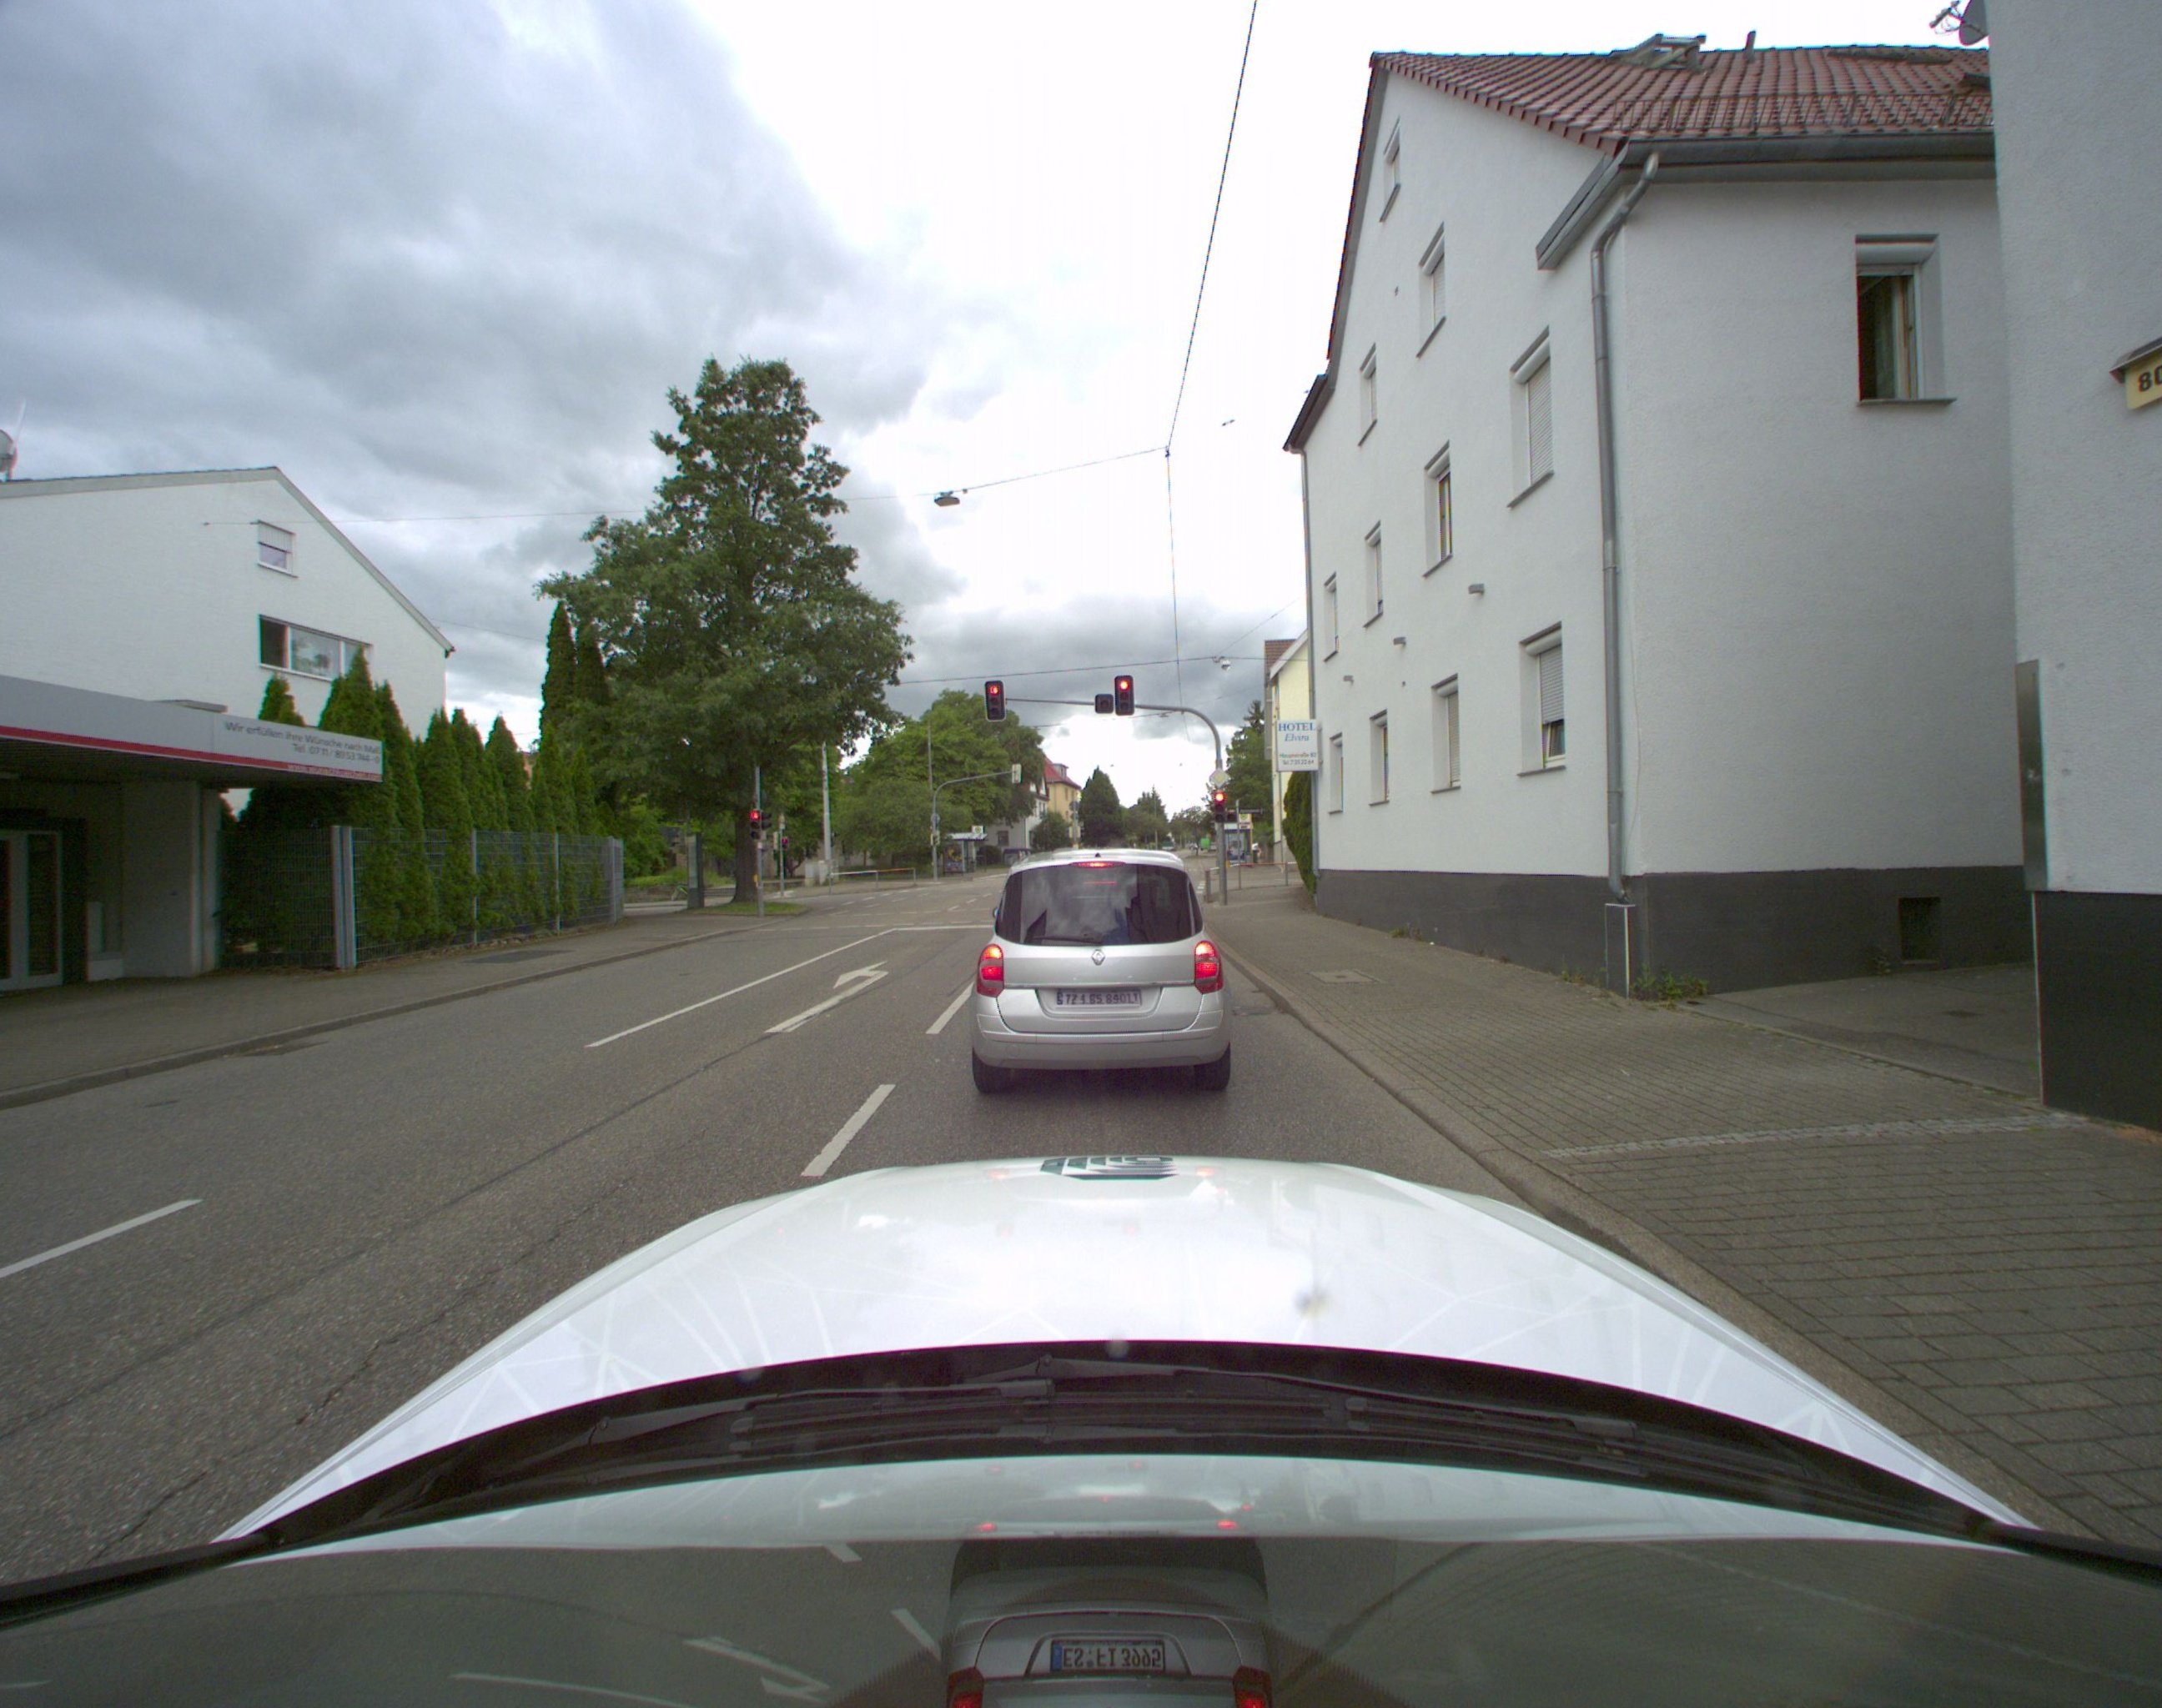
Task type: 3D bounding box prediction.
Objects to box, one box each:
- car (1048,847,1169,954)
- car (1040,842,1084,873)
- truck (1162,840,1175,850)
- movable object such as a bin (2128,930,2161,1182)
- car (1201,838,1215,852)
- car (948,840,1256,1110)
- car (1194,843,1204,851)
[{"bbox_3d":[0.446,0.679,13.754,1.748,1.530,3.798,-1,0,1],"label":"car"},{"bbox_3d":[-1.233,0.211,54.394,1.913,1.773,4.013,-5,-1,12],"label":"car"},{"bbox_3d":[17.885,-1.863,166.371,2.088,2.013,5.766,-1,0,11],"label":"truck"},{"bbox_3d":[4.317,0.751,2.880,0.538,0.941,0.487,-4,0,2],"label":"movable object such as a bin"},{"bbox_3d":[24.483,-1.751,156.949,2.044,2.512,5.616,-1,0,14],"label":"car"},{"bbox_3d":[0.170,0.702,6.687,1.748,1.530,4.001,-1,0,1],"label":"car"},{"bbox_3d":[25.471,-1.551,176.098,1.844,1.748,4.015,-1,0,13],"label":"car"}]
